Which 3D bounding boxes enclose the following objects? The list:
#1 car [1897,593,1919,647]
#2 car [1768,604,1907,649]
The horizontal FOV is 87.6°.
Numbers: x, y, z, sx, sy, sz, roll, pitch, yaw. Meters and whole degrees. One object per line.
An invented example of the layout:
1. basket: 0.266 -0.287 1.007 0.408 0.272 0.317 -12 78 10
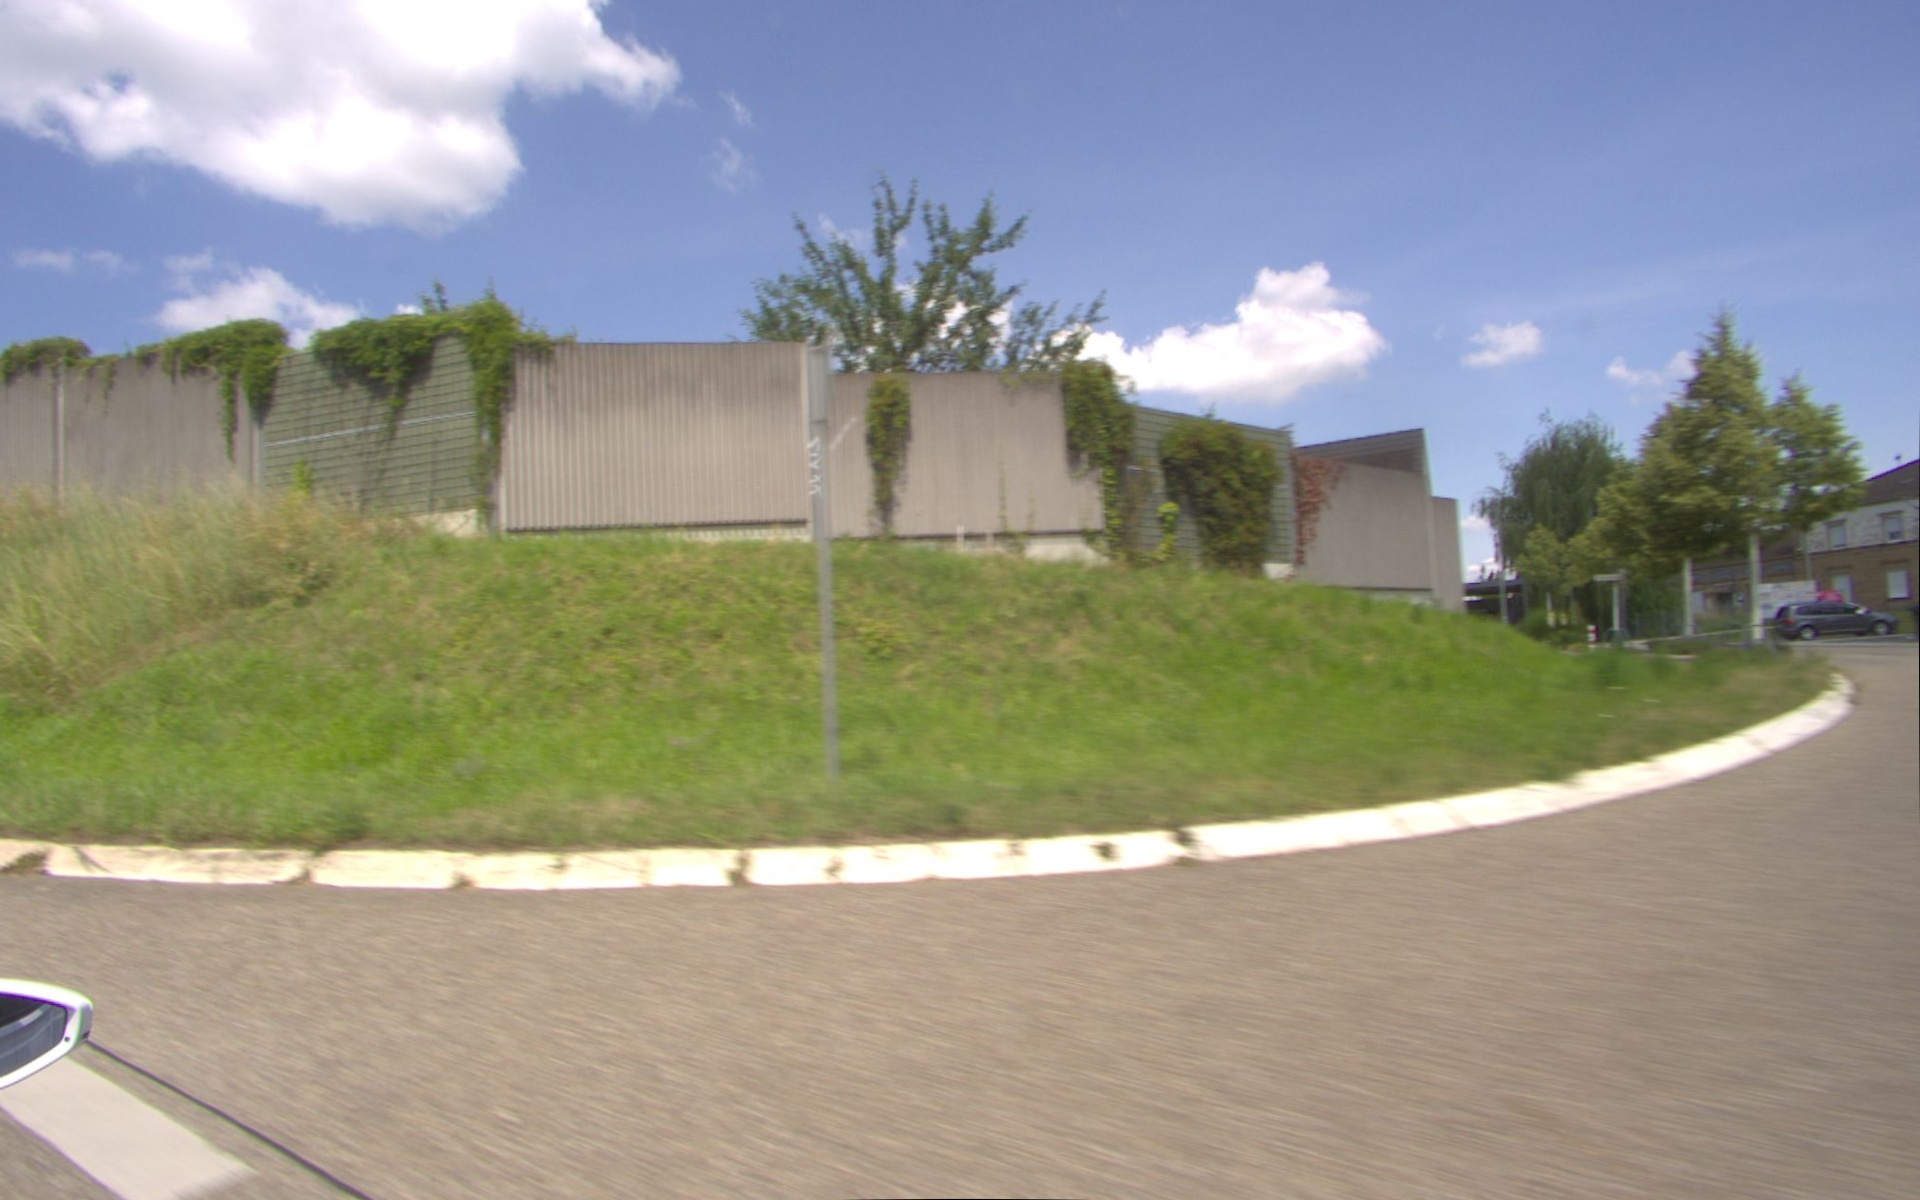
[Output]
1. car: 35.661 0.653 34.674 4.157 1.789 1.998 -1 -6 23
2. car: 39.067 1.223 44.699 4.157 1.789 1.998 -1 -6 23
